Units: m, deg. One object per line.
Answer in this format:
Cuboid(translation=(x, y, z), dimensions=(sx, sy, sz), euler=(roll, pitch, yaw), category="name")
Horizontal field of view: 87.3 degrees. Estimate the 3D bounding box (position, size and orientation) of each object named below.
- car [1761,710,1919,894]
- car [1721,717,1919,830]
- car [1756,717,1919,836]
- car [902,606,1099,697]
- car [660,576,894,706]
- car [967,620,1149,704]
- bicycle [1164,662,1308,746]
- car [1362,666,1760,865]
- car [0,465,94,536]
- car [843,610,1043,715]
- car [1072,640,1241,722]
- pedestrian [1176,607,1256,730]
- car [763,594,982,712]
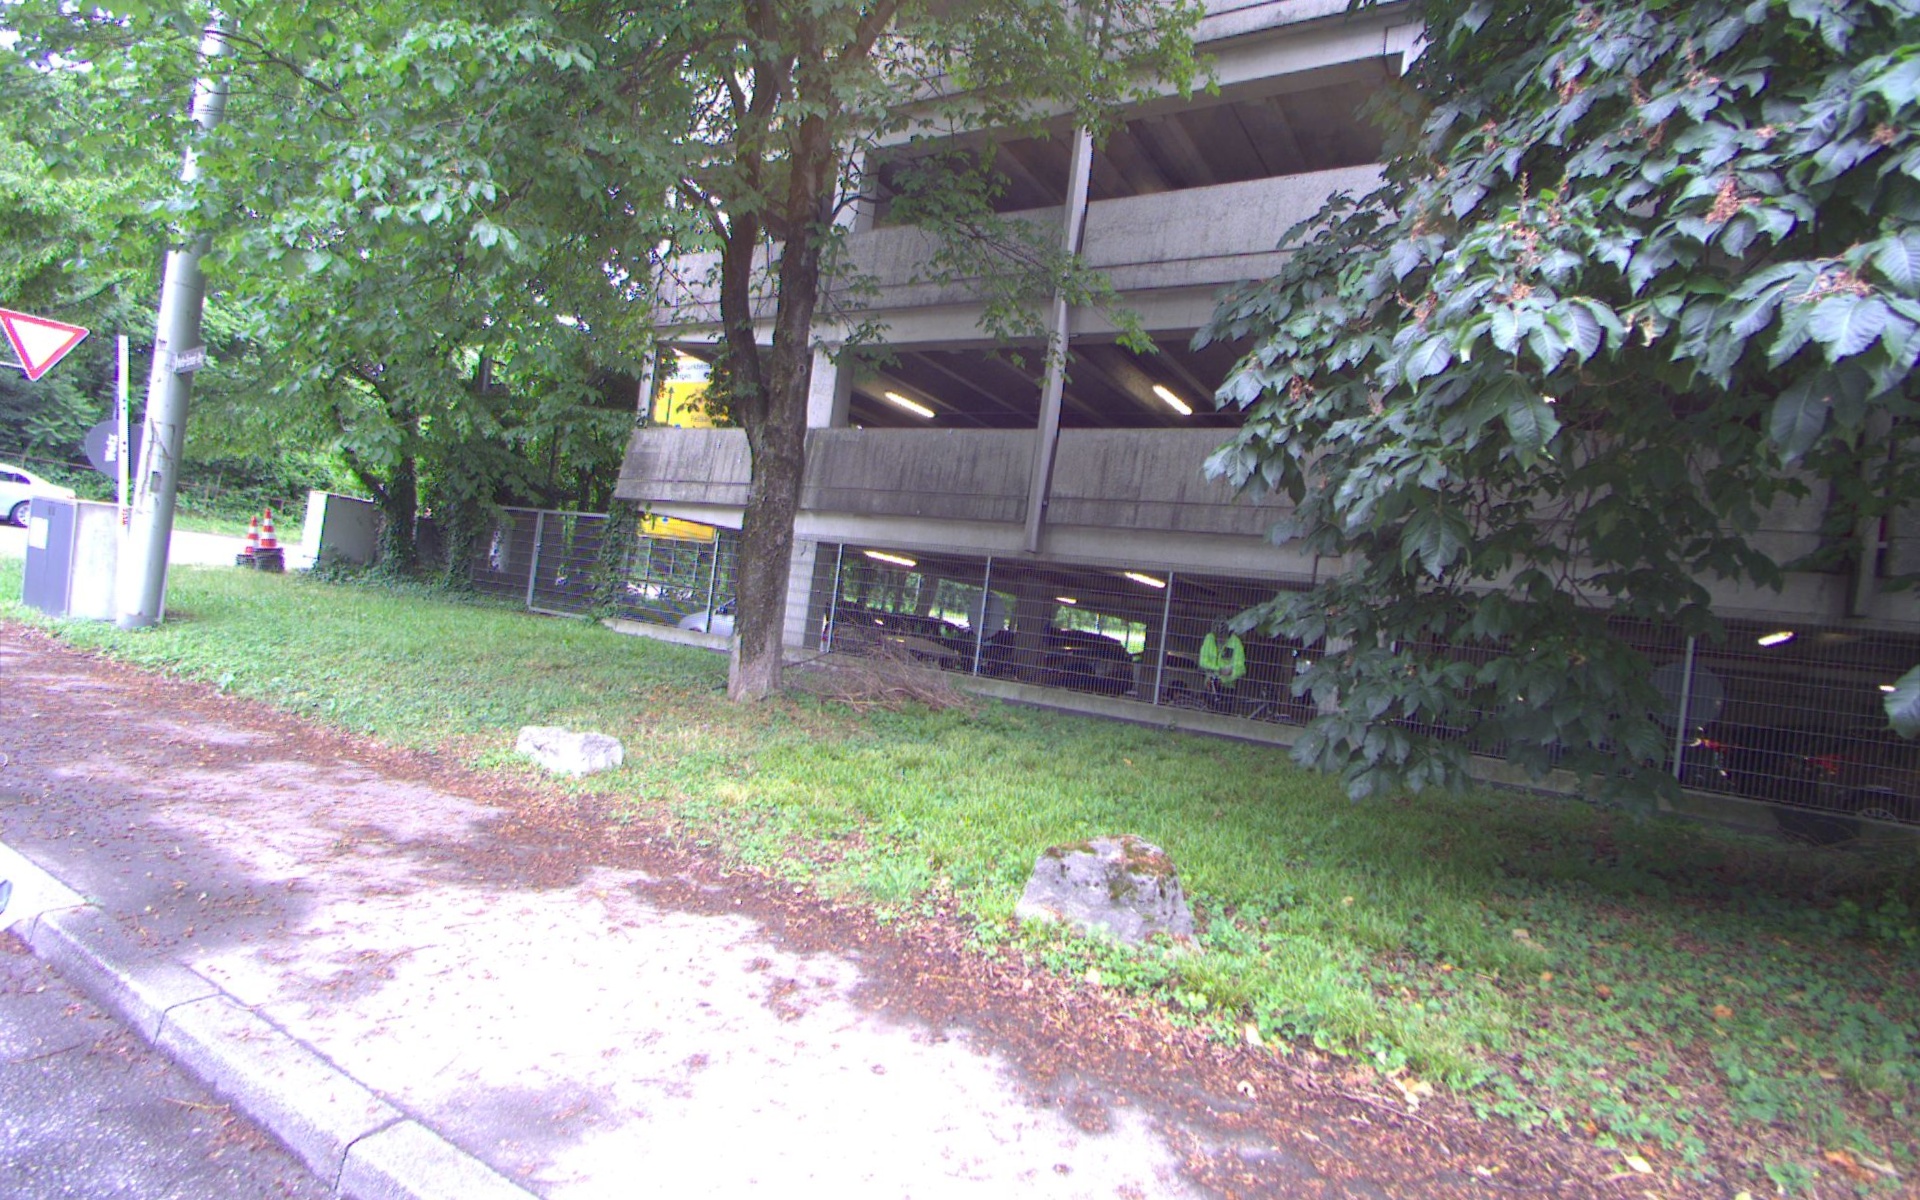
Cuboid(translation=(12.668, 2.655, 12.471), dimensions=(3.935, 2.036, 1.998), euler=(5, -3, 33), category="car")
Cuboid(translation=(16.598, 3.244, 18.654), dimensions=(3.640, 1.625, 1.721), euler=(5, -3, 30), category="car")
Cuboid(translation=(15.608, 2.992, 16.520), dimensions=(3.640, 1.625, 1.721), euler=(5, -3, 30), category="car")
Cuboid(translation=(0.921, 1.182, 23.221), dimensions=(3.934, 1.569, 1.998), euler=(5, -3, 32), category="car")
Cuboid(translation=(-3.115, 0.660, 16.901), dimensions=(3.658, 1.727, 1.484), euler=(5, -3, 32), category="car")
Cuboid(translation=(2.437, 1.533, 25.158), dimensions=(3.934, 1.569, 1.998), euler=(5, -3, 32), category="car")
Cuboid(translation=(3.117, 1.166, 11.382), dimensions=(1.469, 0.744, 0.448), euler=(6, -3, 24), category="bicycle")
Cuboid(translation=(8.618, 2.291, 14.839), dimensions=(4.597, 2.036, 1.998), euler=(5, -3, 31), category="car")
Cuboid(translation=(-23.197, -2.583, 22.983), dimensions=(1.802, 1.349, 4.763), euler=(10, -1, 29), category="car")
Cuboid(translation=(-0.376, 1.284, 20.884), dimensions=(3.658, 1.682, 1.734), euler=(5, -3, 32), category="car")
Cuboid(translation=(6.135, 2.526, 31.557), dimensions=(4.658, 1.855, 1.923), euler=(6, -3, 33), category="car")
Cuboid(translation=(2.992, 0.806, 11.727), dimensions=(0.626, 1.332, 0.642), euler=(5, -3, 31), category="pedestrian")
Cuboid(translation=(-1.669, 0.976, 18.827), dimensions=(3.707, 1.727, 1.584), euler=(5, -3, 32), category="car")
